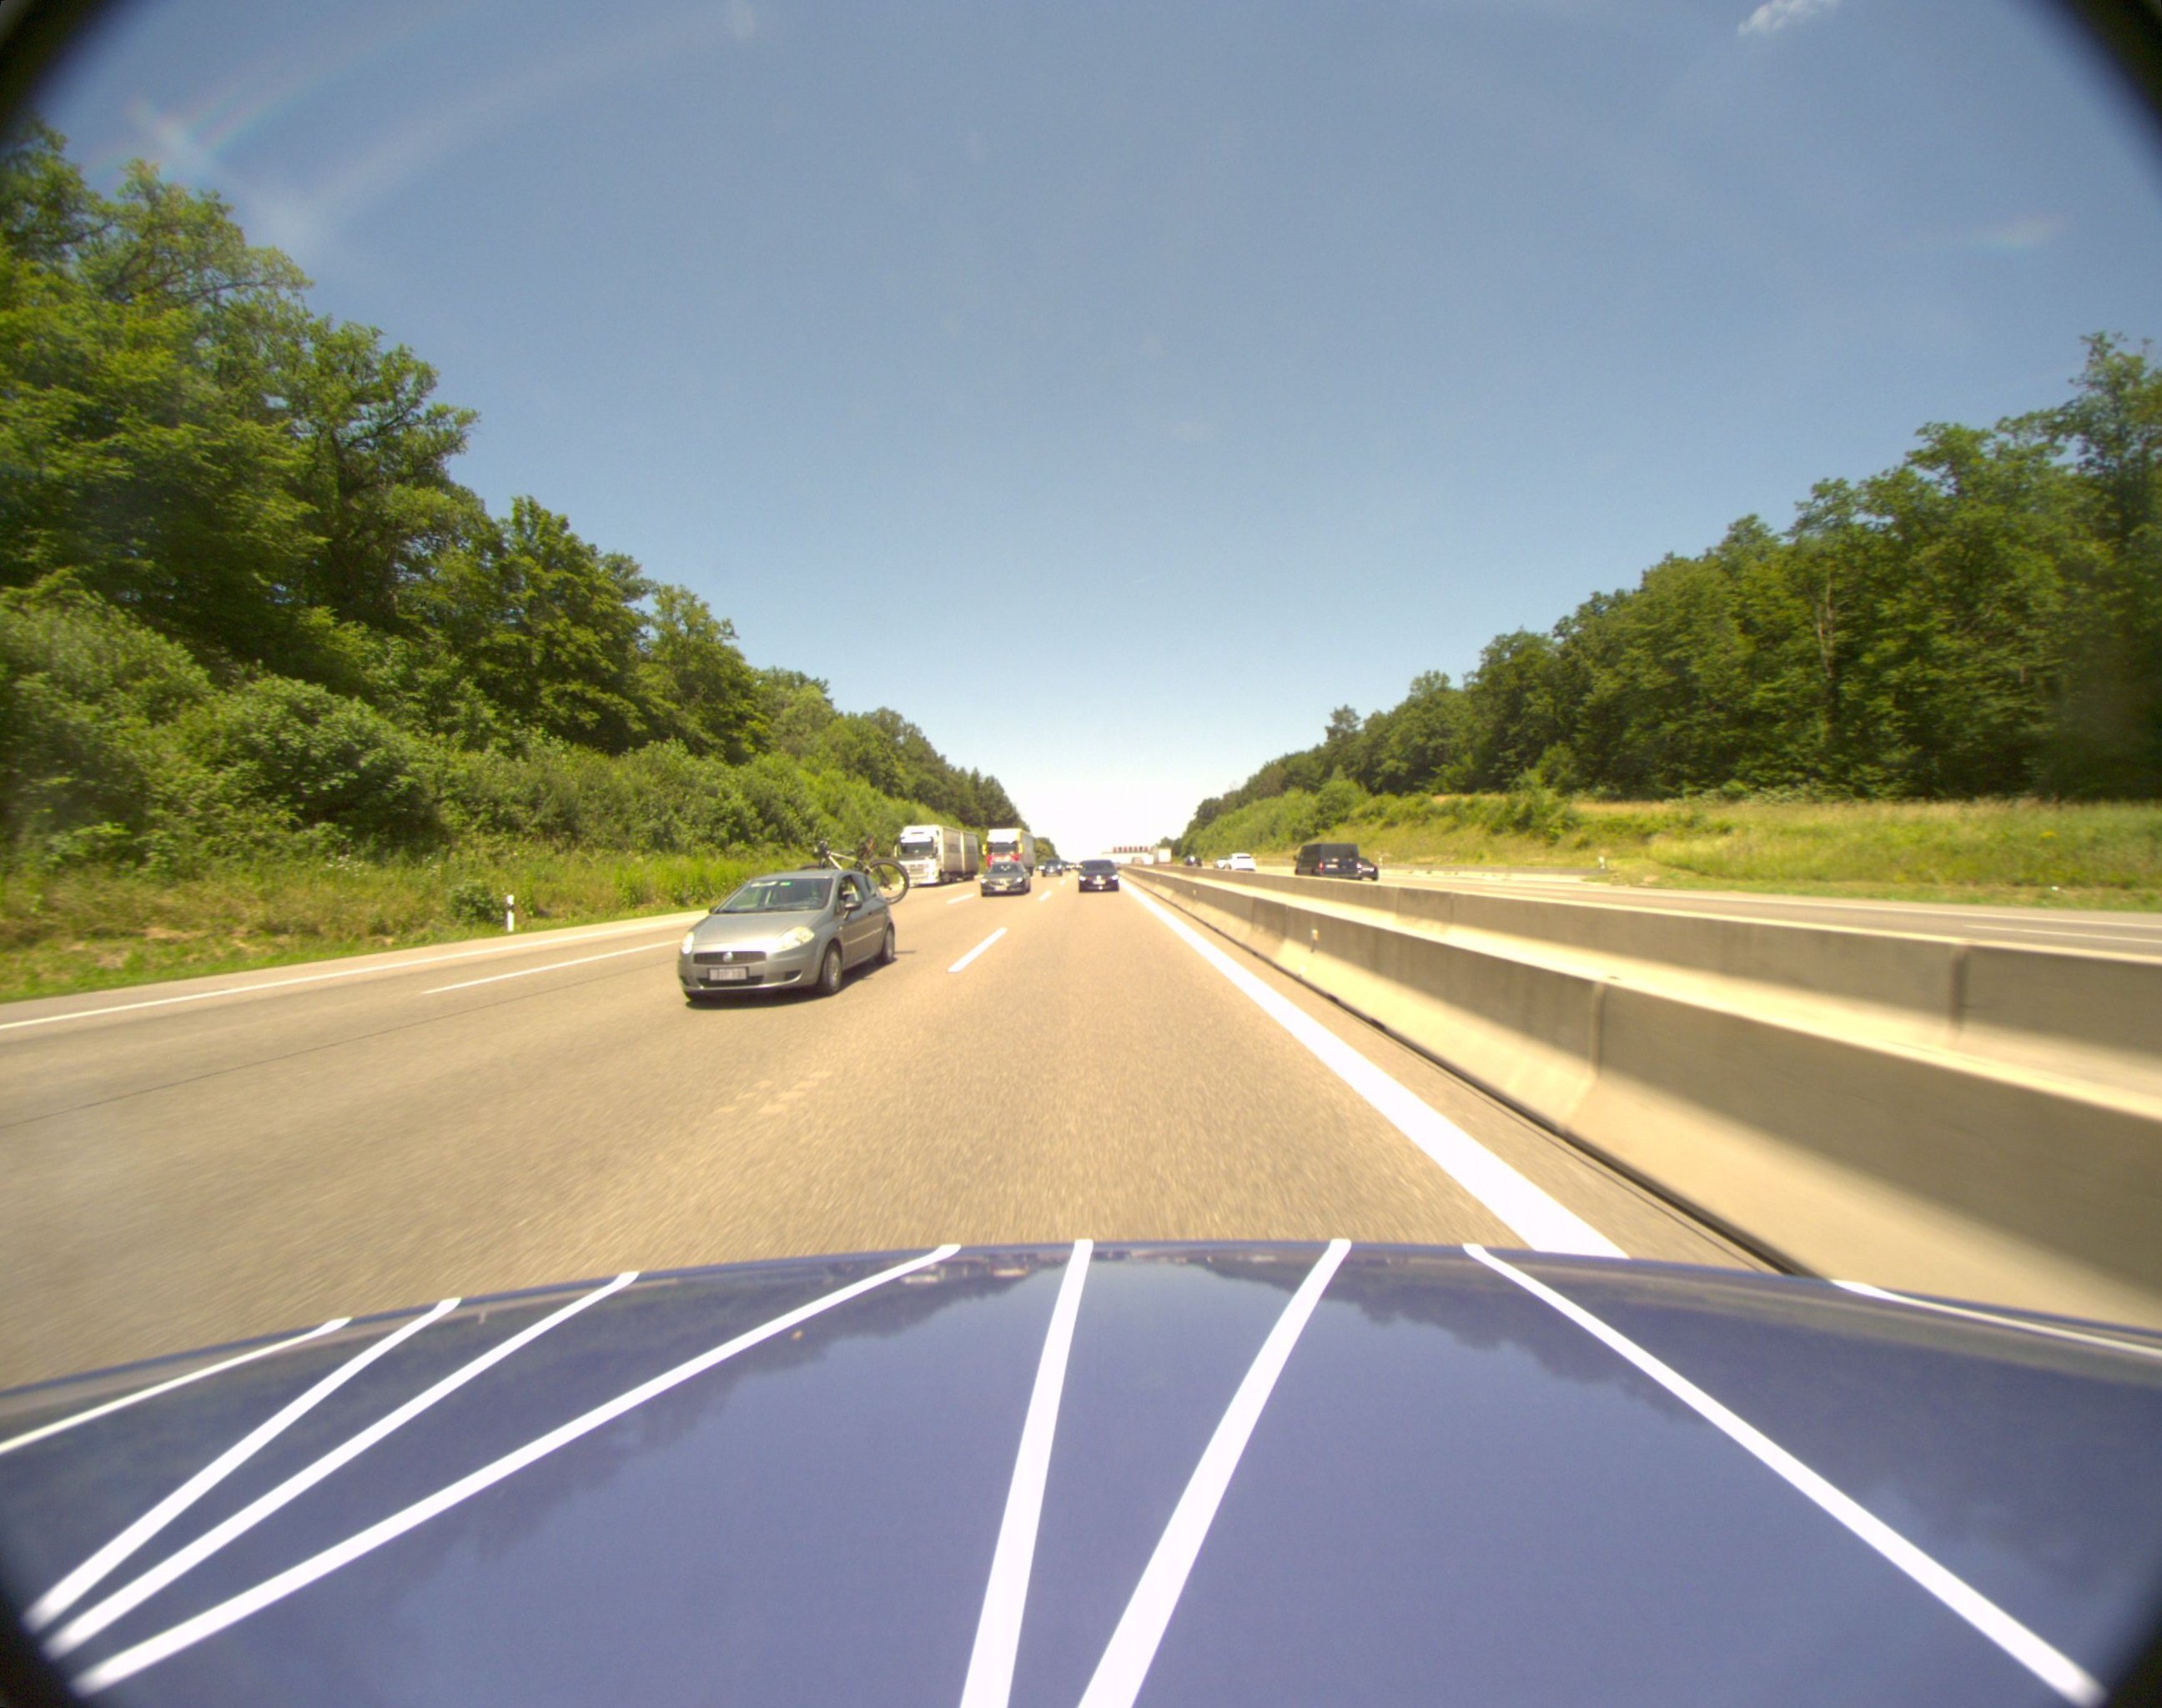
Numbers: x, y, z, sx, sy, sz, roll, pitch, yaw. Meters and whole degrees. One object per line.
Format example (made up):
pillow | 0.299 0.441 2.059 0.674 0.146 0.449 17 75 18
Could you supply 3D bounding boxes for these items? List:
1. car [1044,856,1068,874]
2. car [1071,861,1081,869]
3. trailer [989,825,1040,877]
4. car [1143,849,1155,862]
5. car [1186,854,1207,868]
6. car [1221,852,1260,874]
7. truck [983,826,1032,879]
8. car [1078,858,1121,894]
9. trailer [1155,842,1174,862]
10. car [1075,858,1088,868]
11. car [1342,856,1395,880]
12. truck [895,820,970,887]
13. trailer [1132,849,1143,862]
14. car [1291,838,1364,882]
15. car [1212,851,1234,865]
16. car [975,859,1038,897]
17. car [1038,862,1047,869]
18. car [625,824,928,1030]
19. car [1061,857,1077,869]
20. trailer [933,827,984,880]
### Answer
car | -2.256 0.975 70.177 1.910 1.503 4.160 -3 0 2
car | -0.959 1.998 137.968 1.715 1.308 3.490 0 0 1
trailer | -5.740 -0.175 68.738 2.926 4.118 14.850 -1 -1 1
car | 14.304 0.274 160.481 2.090 2.783 7.604 -1 0 3
car | 12.959 0.731 85.417 1.805 1.539 4.729 0 0 2
car | 12.337 0.665 59.133 1.998 1.659 4.930 -1 0 1
truck | -5.919 -0.073 62.132 3.018 3.957 7.541 -2 -1 1
car | 0.820 0.930 33.972 1.777 1.425 4.144 -3 0 1
trailer | 18.119 -0.397 165.626 2.932 4.060 13.841 -1 0 2
car | 0.113 1.538 124.154 1.910 1.503 4.160 -3 0 2
car | 16.536 0.752 43.844 1.491 1.297 4.300 0 0 1
truck | -10.298 -0.014 54.063 2.728 4.136 10.970 -3 0 1
trailer | 19.412 0.612 261.145 3.108 4.228 13.842 0 0 2
car | 12.078 0.268 37.594 1.999 2.002 4.811 -1 0 -1
car | 16.347 0.461 87.543 1.748 1.553 4.423 1 0 2
car | -3.209 1.012 33.938 1.971 1.444 5.225 -3 0 3
car | -8.651 2.649 170.209 1.910 1.503 4.160 -1 -1 0
car | -3.639 0.749 10.258 1.966 2.041 4.784 -3 0 1
car | -1.555 1.176 103.040 1.910 1.503 4.160 -3 0 2
trailer | -10.058 -0.012 63.346 2.585 4.046 8.383 -3 0 1
